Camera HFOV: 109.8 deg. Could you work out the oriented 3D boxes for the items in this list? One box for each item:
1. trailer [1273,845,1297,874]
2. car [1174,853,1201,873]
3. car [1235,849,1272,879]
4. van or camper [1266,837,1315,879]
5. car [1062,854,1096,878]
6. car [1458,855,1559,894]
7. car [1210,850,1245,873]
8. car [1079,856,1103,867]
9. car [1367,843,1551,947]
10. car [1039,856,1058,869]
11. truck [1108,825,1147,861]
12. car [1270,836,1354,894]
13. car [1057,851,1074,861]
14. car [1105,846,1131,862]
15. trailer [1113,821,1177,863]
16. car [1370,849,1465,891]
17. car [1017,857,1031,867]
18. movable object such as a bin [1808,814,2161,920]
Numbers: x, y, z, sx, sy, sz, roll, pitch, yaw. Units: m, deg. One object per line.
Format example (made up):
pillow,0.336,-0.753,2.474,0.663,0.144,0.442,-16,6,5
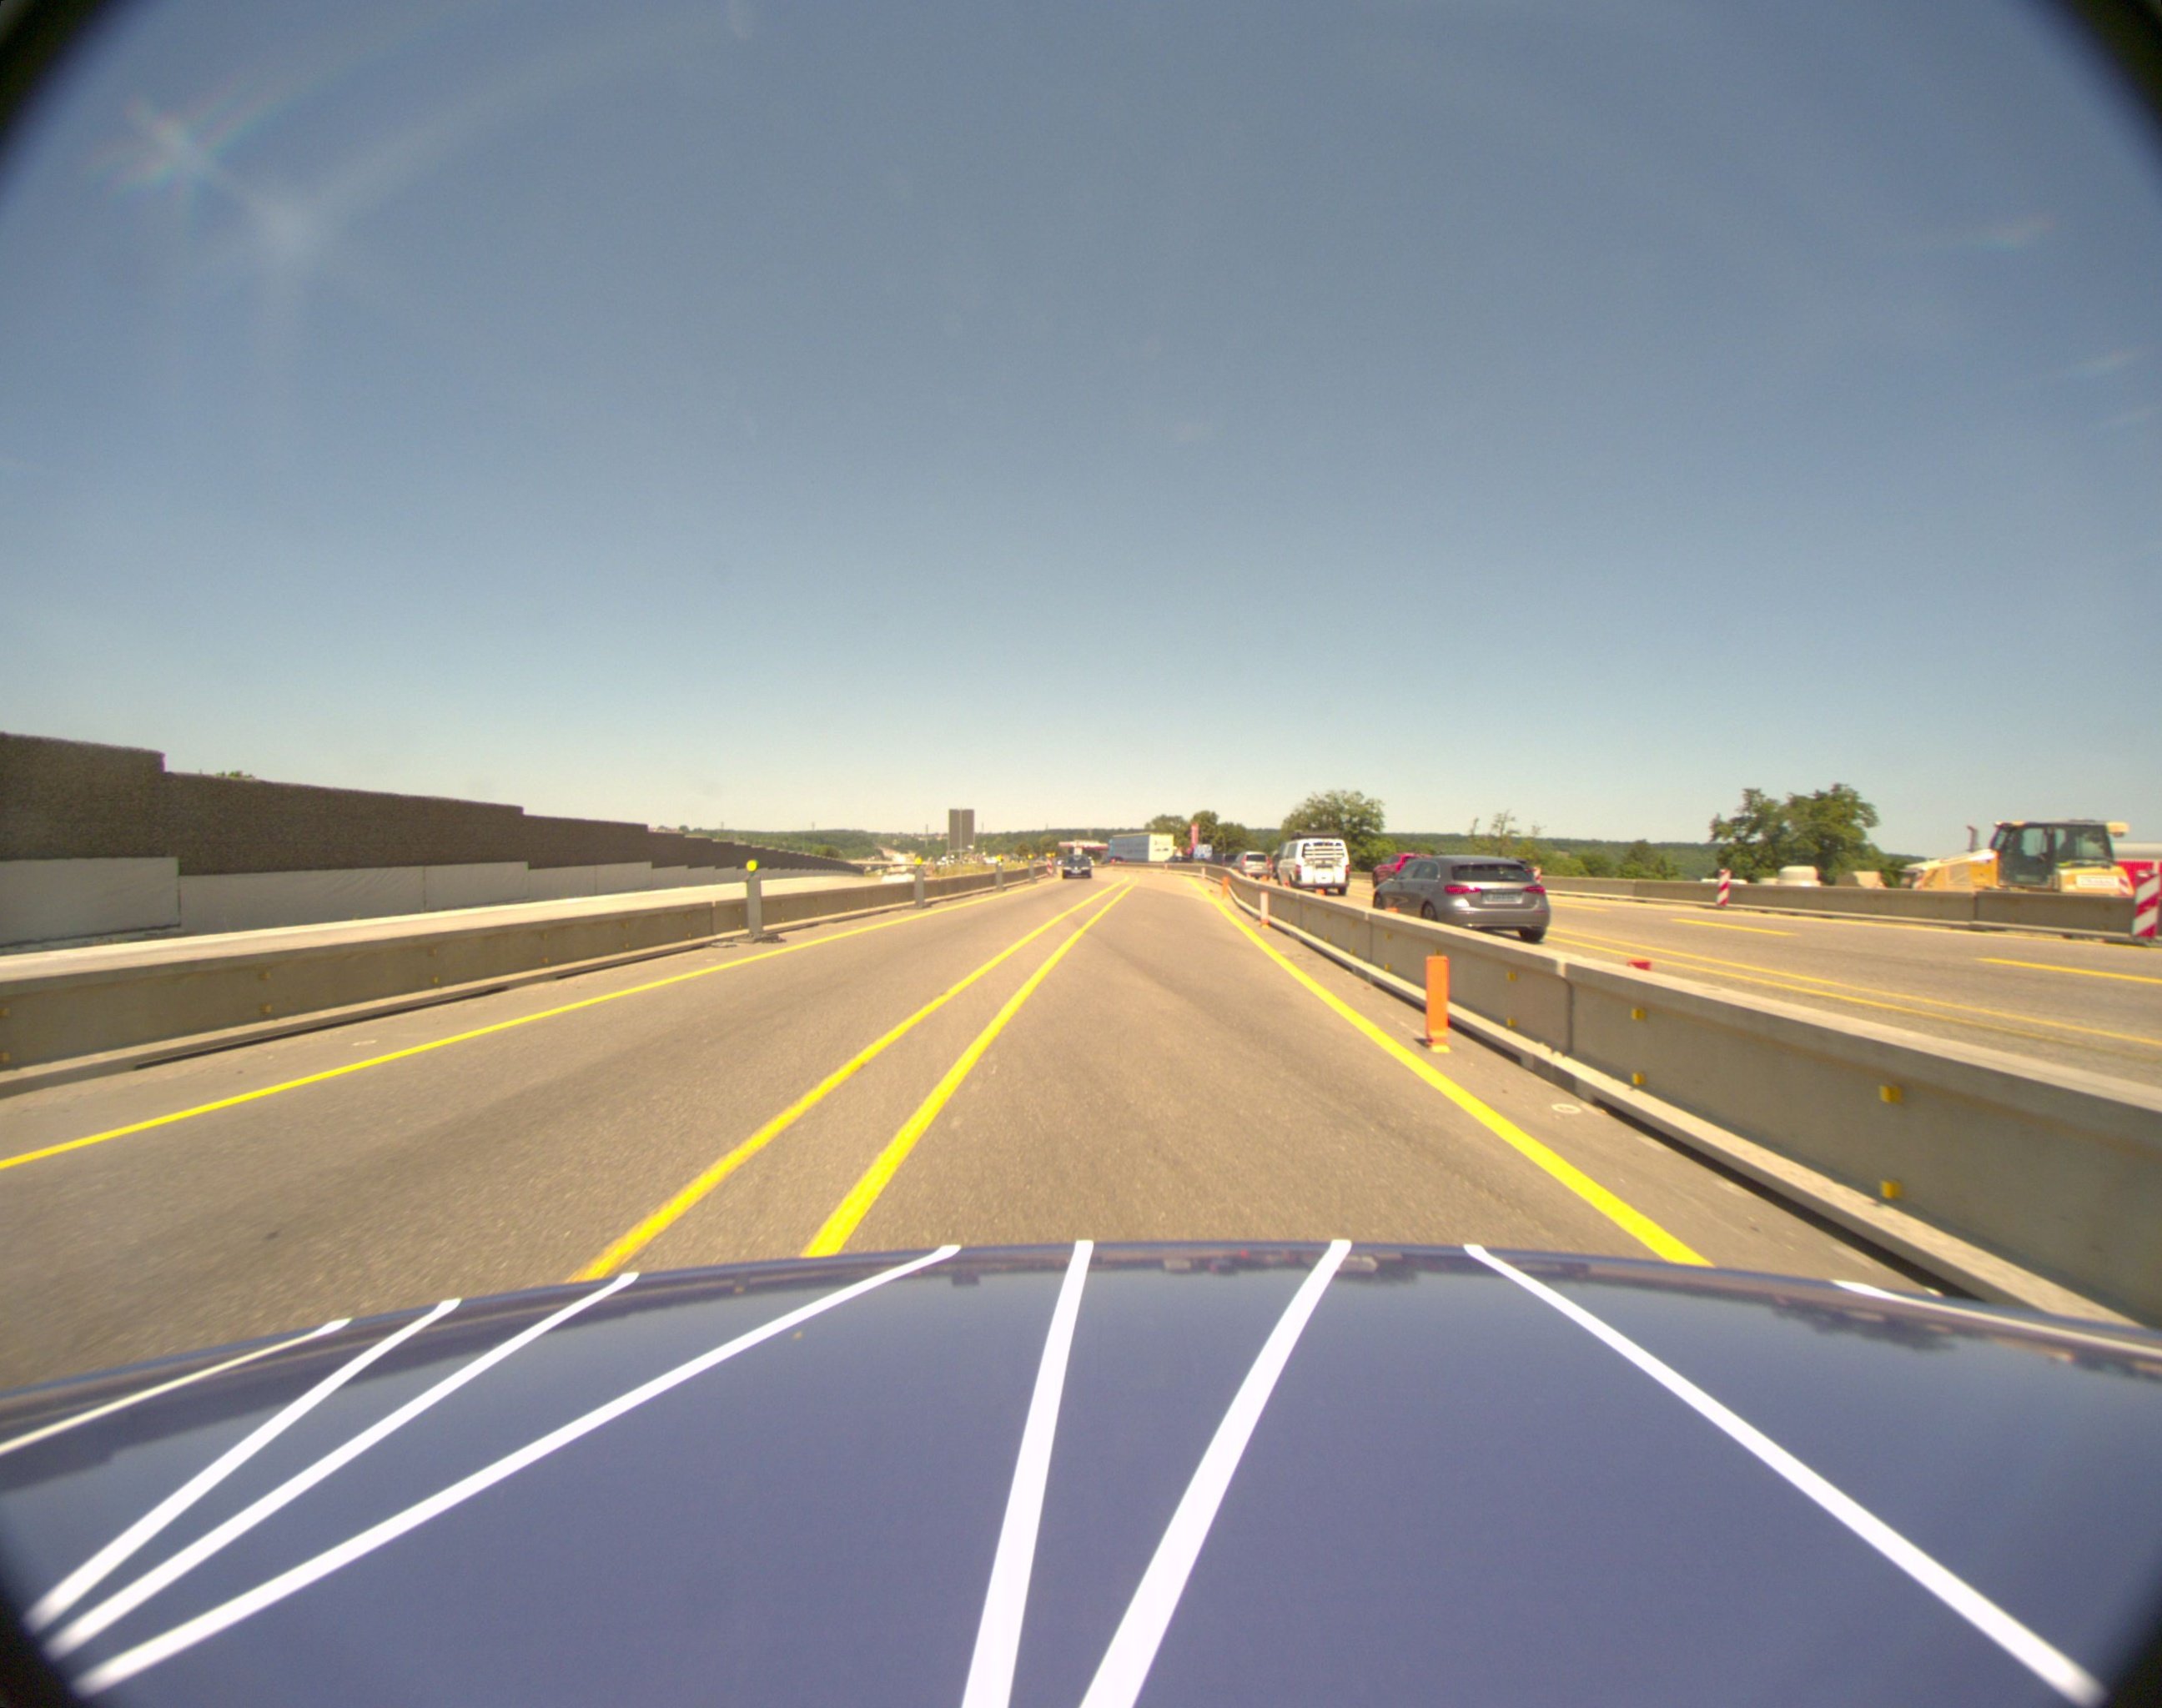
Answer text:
trailer,31.425,0.994,117.457,3.154,4.086,14.183,2,-1,14
car,8.792,0.732,62.830,1.693,1.472,4.471,3,0,2
car,9.836,0.541,43.538,1.760,1.606,4.231,0,0,9
van or camper,13.896,0.243,50.880,2.103,2.526,6.308,2,0,6
car,-0.087,0.766,45.157,1.810,1.298,4.002,2,-2,2
car,17.471,0.795,31.346,1.809,1.385,4.656,3,0,5
car,12.115,0.636,62.974,1.780,1.754,4.709,3,0,-2
car,1.247,0.927,96.011,2.024,1.436,4.582,0,0,-13
car,6.553,0.639,13.658,1.513,1.595,3.954,0,0,3
car,-4.387,1.109,101.537,1.819,1.652,3.996,-1,0,-12
truck,5.453,-1.256,90.957,2.925,4.104,6.131,2,0,-13
car,8.340,0.384,27.852,1.876,1.861,5.060,-2,0,5
car,-2.343,0.288,110.582,1.595,1.432,4.120,3,-1,-13
car,4.006,-0.014,82.884,1.774,1.598,4.705,3,0,-11
trailer,6.884,-1.240,84.484,2.925,4.104,13.899,2,0,-13
car,13.001,0.591,29.698,1.998,1.493,4.656,0,0,5
car,-9.728,1.348,129.080,1.709,1.674,3.784,-1,0,-15
movable object such as a bin,24.551,0.290,19.366,7.910,2.418,3.724,-2,0,25
